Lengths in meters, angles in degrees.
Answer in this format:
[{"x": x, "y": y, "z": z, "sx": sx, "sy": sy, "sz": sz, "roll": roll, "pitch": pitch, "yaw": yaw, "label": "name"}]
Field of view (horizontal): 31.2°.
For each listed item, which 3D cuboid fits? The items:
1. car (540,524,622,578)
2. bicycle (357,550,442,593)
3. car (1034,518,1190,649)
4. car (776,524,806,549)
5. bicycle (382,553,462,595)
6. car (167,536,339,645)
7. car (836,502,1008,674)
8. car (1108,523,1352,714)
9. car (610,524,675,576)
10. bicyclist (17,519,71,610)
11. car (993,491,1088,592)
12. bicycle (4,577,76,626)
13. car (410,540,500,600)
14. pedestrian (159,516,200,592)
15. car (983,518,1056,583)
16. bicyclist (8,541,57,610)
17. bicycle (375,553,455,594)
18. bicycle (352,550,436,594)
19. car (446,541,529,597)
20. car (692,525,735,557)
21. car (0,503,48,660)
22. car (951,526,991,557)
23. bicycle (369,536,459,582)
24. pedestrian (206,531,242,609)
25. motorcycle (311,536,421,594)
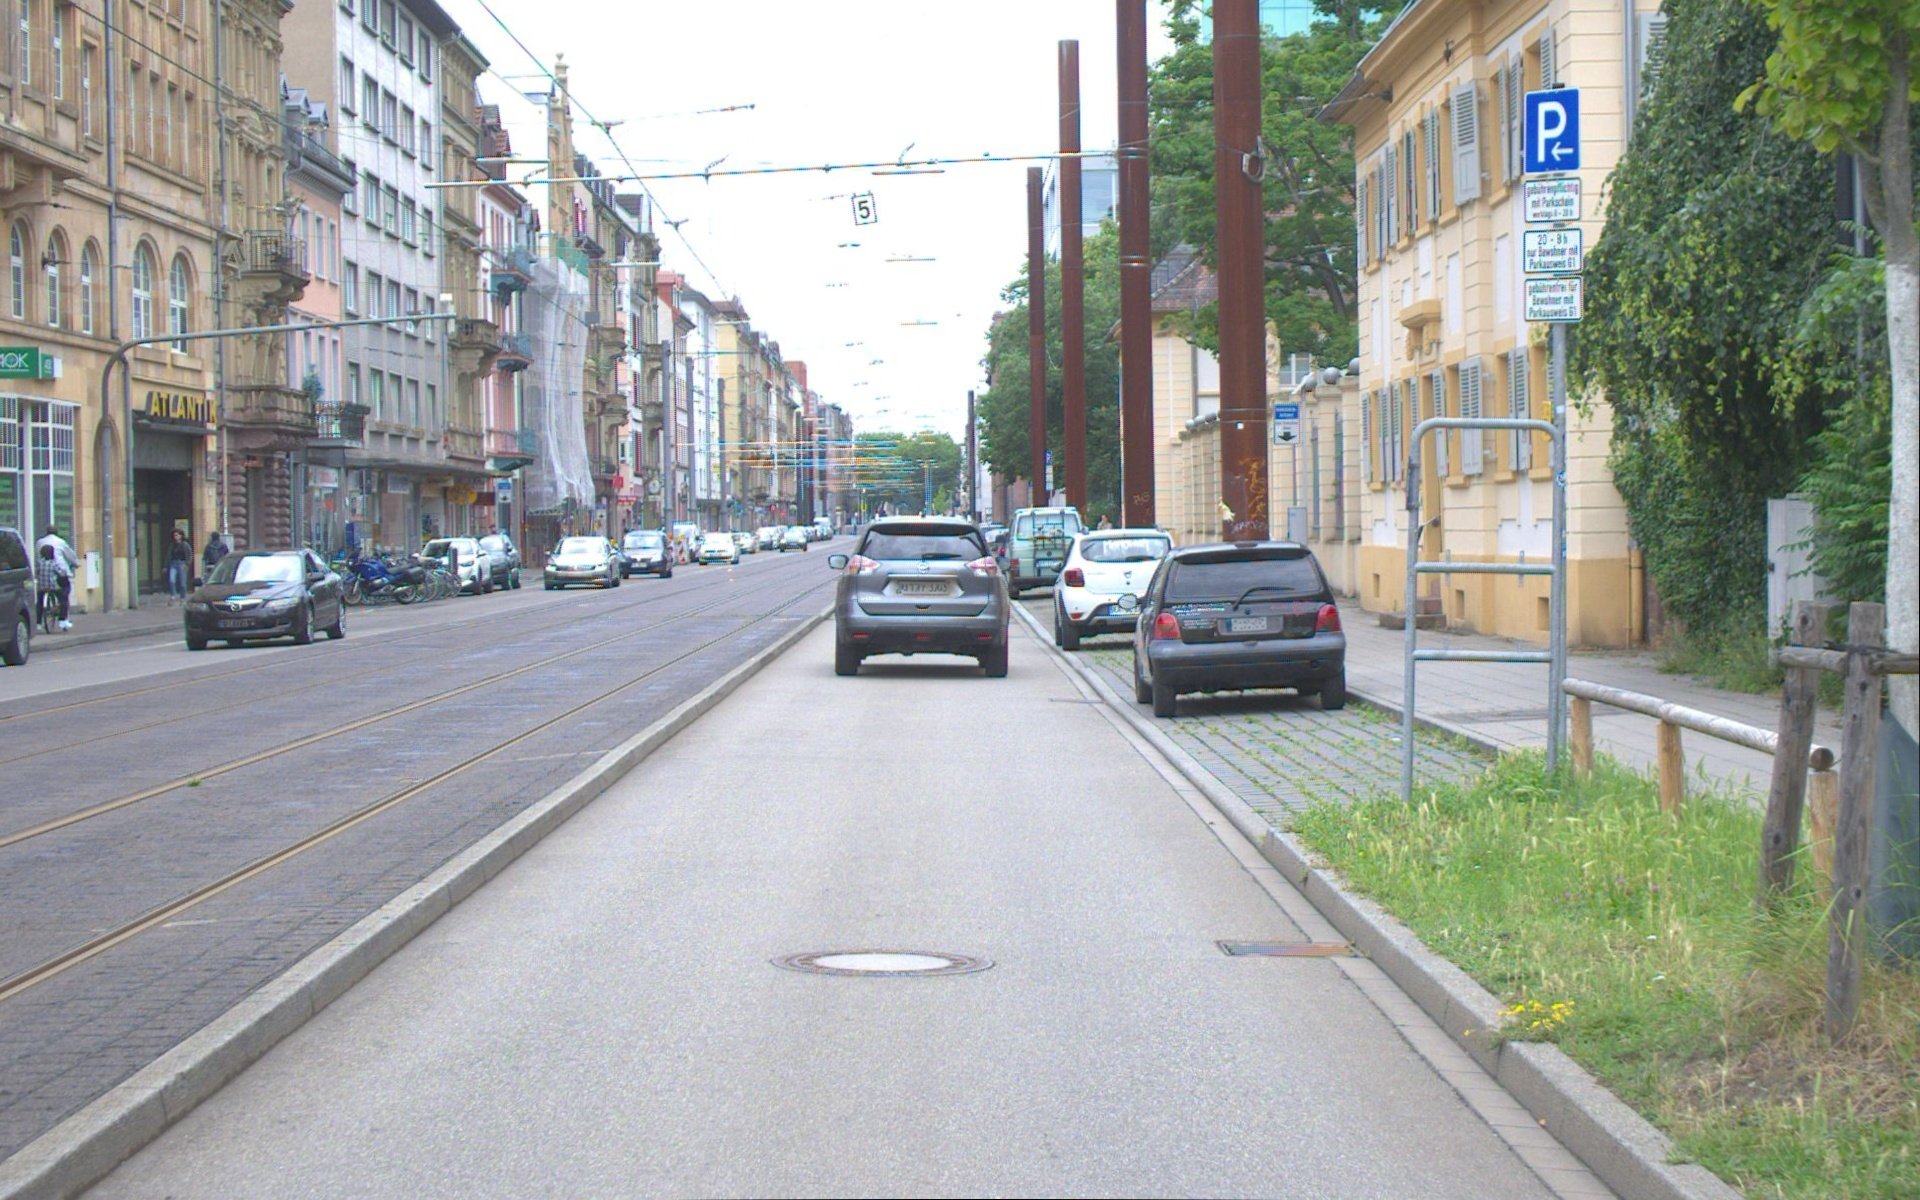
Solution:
[{"x": -10.547, "y": -1.375, "z": 95.942, "sx": 1.759, "sy": 1.444, "sz": 4.614, "roll": -1, "pitch": 1, "yaw": 0, "label": "car"}, {"x": -13.417, "y": -0.689, "z": 82.309, "sx": 1.965, "sy": 0.998, "sz": 0.463, "roll": -1, "pitch": 1, "yaw": -8, "label": "bicycle"}, {"x": 1.974, "y": -0.253, "z": 45.718, "sx": 1.755, "sy": 1.569, "sz": 3.931, "roll": -3, "pitch": 1, "yaw": -1, "label": "car"}, {"x": -11.488, "y": -4.337, "z": 234.034, "sx": 1.993, "sy": 1.629, "sz": 4.000, "roll": 0, "pitch": 0, "yaw": -4, "label": "car"}, {"x": -13.440, "y": -0.648, "z": 85.942, "sx": 1.965, "sy": 0.998, "sz": 0.463, "roll": -1, "pitch": 1, "yaw": -8, "label": "bicycle"}, {"x": -10.320, "y": -0.176, "z": 50.463, "sx": 1.827, "sy": 1.428, "sz": 4.668, "roll": -3, "pitch": 1, "yaw": -4, "label": "car"}, {"x": -0.409, "y": -0.167, "z": 37.145, "sx": 1.749, "sy": 1.750, "sz": 3.924, "roll": 0, "pitch": 1, "yaw": -1, "label": "car"}, {"x": 2.234, "y": 0.103, "z": 29.319, "sx": 1.637, "sy": 1.429, "sz": 3.931, "roll": -3, "pitch": 1, "yaw": -1, "label": "car"}, {"x": -10.565, "y": -1.673, "z": 114.658, "sx": 1.759, "sy": 1.666, "sz": 4.614, "roll": -1, "pitch": 1, "yaw": 0, "label": "car"}, {"x": -15.144, "y": -0.596, "z": 56.852, "sx": 0.611, "sy": 1.482, "sz": 0.972, "roll": -1, "pitch": 1, "yaw": 0, "label": "bicyclist"}, {"x": 1.782, "y": -1.332, "z": 77.540, "sx": 1.851, "sy": 2.108, "sz": 4.985, "roll": -3, "pitch": 1, "yaw": -1, "label": "car"}, {"x": -15.114, "y": 0.013, "z": 56.522, "sx": 0.581, "sy": 0.743, "sz": 2.251, "roll": -1, "pitch": 1, "yaw": 0, "label": "bicycle"}, {"x": -13.364, "y": -0.819, "z": 91.214, "sx": 1.776, "sy": 1.499, "sz": 4.402, "roll": -1, "pitch": 1, "yaw": -1, "label": "car"}, {"x": -16.670, "y": -0.978, "z": 73.426, "sx": 0.685, "sy": 1.608, "sz": 0.742, "roll": -1, "pitch": 1, "yaw": 0, "label": "pedestrian"}, {"x": 1.576, "y": -1.343, "z": 91.965, "sx": 1.749, "sy": 1.590, "sz": 3.924, "roll": -3, "pitch": 1, "yaw": -1, "label": "car"}, {"x": -15.117, "y": -0.402, "z": 56.038, "sx": 0.611, "sy": 1.113, "sz": 0.659, "roll": -1, "pitch": 1, "yaw": 0, "label": "bicyclist"}, {"x": -13.719, "y": -0.659, "z": 86.621, "sx": 1.965, "sy": 0.998, "sz": 0.463, "roll": -1, "pitch": 1, "yaw": -8, "label": "bicycle"}, {"x": -13.409, "y": -0.660, "z": 81.478, "sx": 1.921, "sy": 0.998, "sz": 0.463, "roll": -1, "pitch": 1, "yaw": -8, "label": "bicycle"}, {"x": -13.386, "y": -0.903, "z": 97.652, "sx": 1.776, "sy": 1.499, "sz": 4.402, "roll": -1, "pitch": 1, "yaw": -1, "label": "car"}, {"x": -11.295, "y": -2.729, "z": 157.838, "sx": 1.687, "sy": 1.415, "sz": 4.135, "roll": -1, "pitch": 1, "yaw": -1, "label": "car"}, {"x": -12.967, "y": -0.178, "z": 42.708, "sx": 1.899, "sy": 1.970, "sz": 5.098, "roll": -3, "pitch": 1, "yaw": -1, "label": "car"}, {"x": 0.504, "y": -2.709, "z": 159.133, "sx": 1.776, "sy": 1.415, "sz": 4.135, "roll": -1, "pitch": 1, "yaw": -1, "label": "car"}, {"x": -13.886, "y": -1.045, "z": 87.522, "sx": 2.230, "sy": 1.122, "sz": 0.504, "roll": -1, "pitch": 1, "yaw": -8, "label": "bicycle"}, {"x": -15.158, "y": -0.614, "z": 70.848, "sx": 0.568, "sy": 1.592, "sz": 0.718, "roll": -1, "pitch": 1, "yaw": -1, "label": "pedestrian"}, {"x": -13.679, "y": -0.810, "z": 79.209, "sx": 2.337, "sy": 1.298, "sz": 0.883, "roll": -2, "pitch": 1, "yaw": -36, "label": "motorcycle"}]
